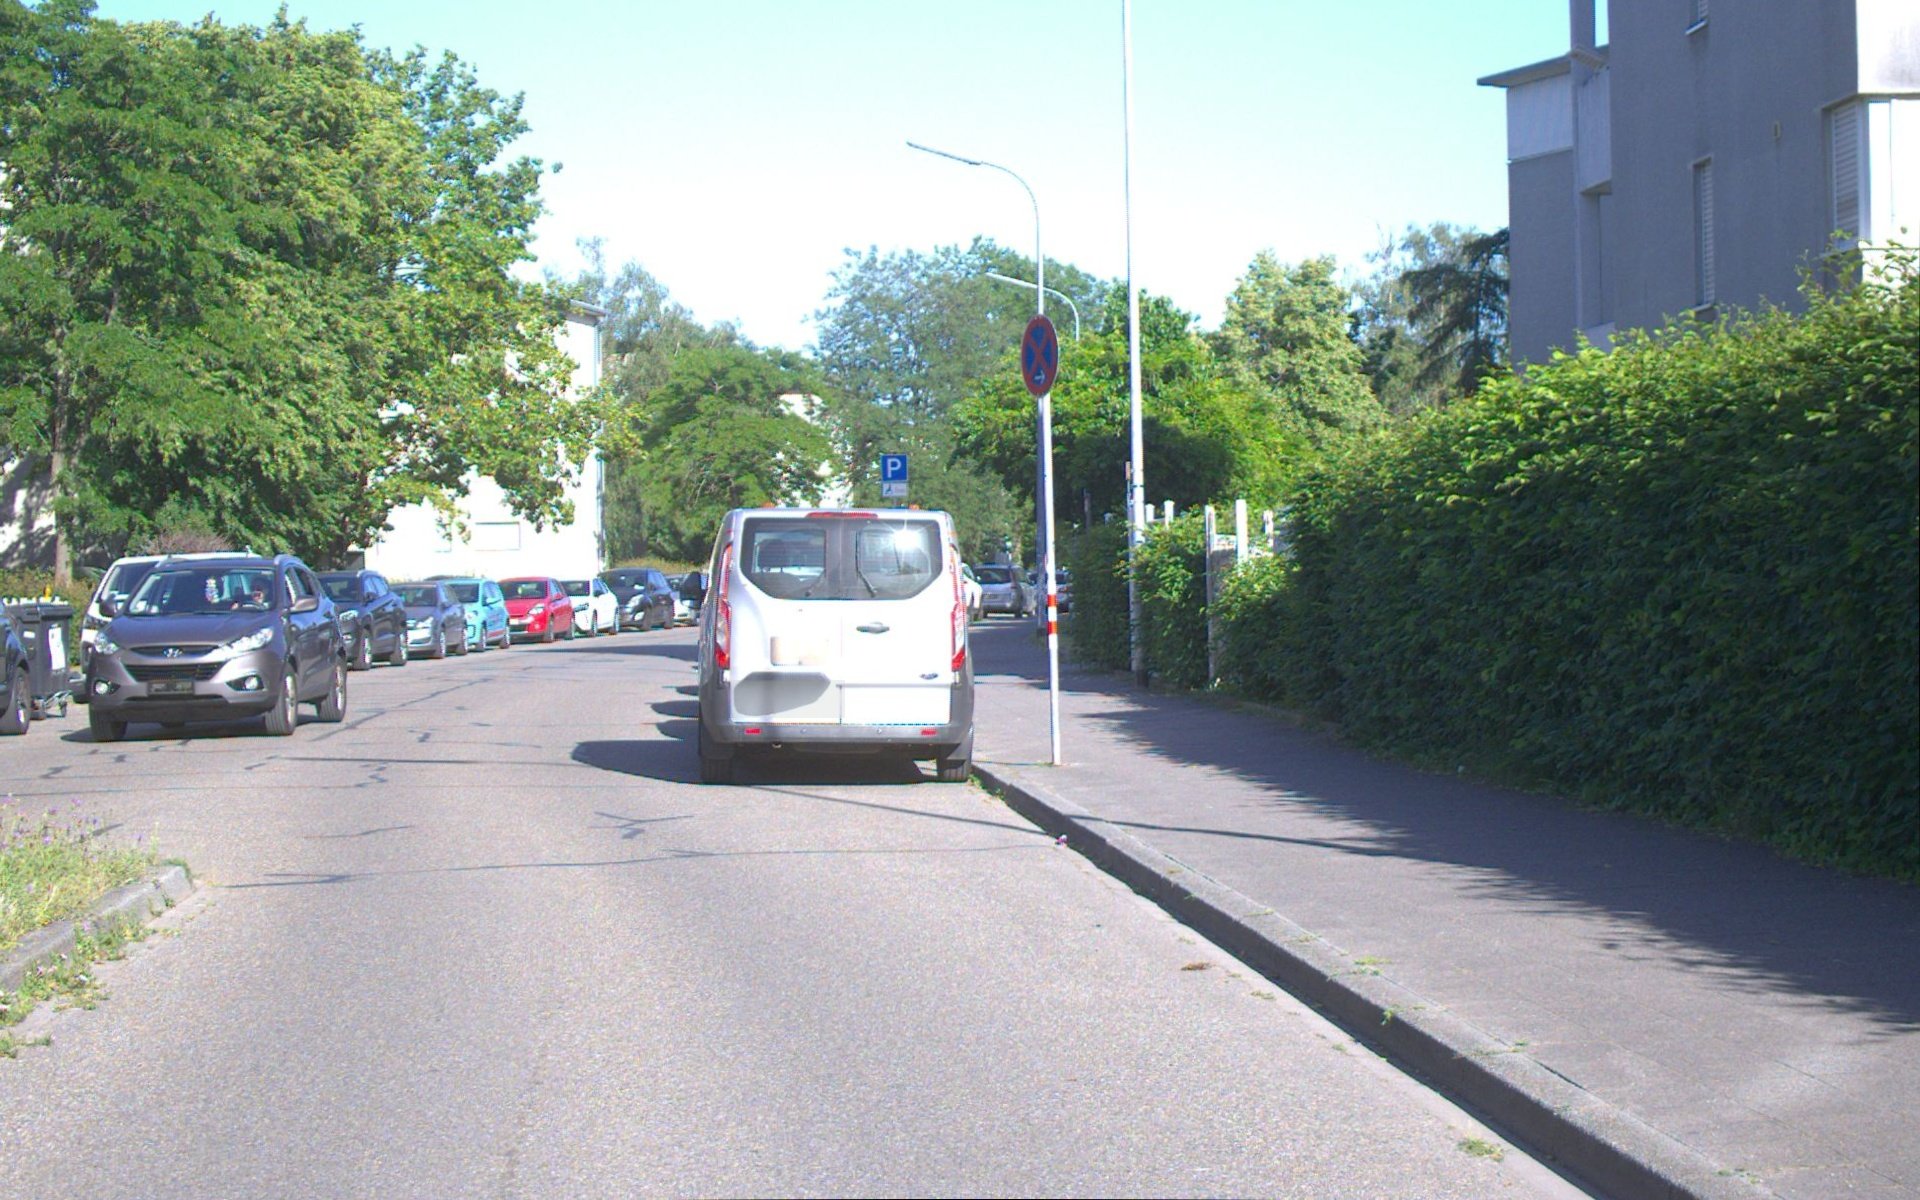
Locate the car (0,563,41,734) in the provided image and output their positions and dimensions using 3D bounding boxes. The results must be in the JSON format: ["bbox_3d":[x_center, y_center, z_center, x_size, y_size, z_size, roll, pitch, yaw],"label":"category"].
[{"bbox_3d":[-10.079,0.506,32.703,1.674,1.633,4.251,-2,1,-3],"label":"car"}]

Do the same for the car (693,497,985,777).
[{"bbox_3d":[-1.025,0.235,26.253,1.993,1.906,4.954,-1,0,-4],"label":"car"}]

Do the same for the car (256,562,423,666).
[{"bbox_3d":[-10.284,0.194,57.270,1.748,1.612,4.362,-1,1,3],"label":"car"}]

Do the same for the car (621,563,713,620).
[{"bbox_3d":[-8.079,-0.244,95.084,1.660,1.481,4.051,-2,0,8],"label":"car"}]

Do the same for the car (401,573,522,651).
[{"bbox_3d":[-10.062,0.222,69.600,1.670,1.469,3.678,-2,0,4],"label":"car"}]

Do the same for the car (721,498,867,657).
[{"bbox_3d":[-2.688,-0.382,57.028,2.104,2.478,5.856,1,0,0],"label":"car"}]

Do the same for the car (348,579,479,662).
[{"bbox_3d":[-10.165,0.366,64.164,1.670,1.432,4.000,-2,0,2],"label":"car"}]

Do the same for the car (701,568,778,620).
[{"bbox_3d":[-6.414,-0.183,100.343,1.660,1.422,4.049,-2,0,4],"label":"car"}]

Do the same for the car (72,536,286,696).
[{"bbox_3d":[-10.226,0.166,45.319,1.863,1.954,4.671,-1,1,-2],"label":"car"}]

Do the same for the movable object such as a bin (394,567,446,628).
[{"bbox_3d":[-12.917,-0.062,82.291,0.988,1.414,1.314,-1,1,2],"label":"movable object such as a bin"}]

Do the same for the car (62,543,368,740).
[{"bbox_3d":[-7.036,0.348,32.904,1.913,1.699,4.185,-2,1,1],"label":"car"}]

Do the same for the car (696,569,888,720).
[{"bbox_3d":[-1.796,0.433,36.755,1.909,1.483,4.375,-1,0,-3],"label":"car"}]

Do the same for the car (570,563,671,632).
[{"bbox_3d":[-8.718,-0.084,88.611,1.671,1.661,4.405,-2,0,6],"label":"car"}]

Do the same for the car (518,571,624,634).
[{"bbox_3d":[-9.236,0.036,81.944,1.671,1.416,3.900,-2,0,6],"label":"car"}]

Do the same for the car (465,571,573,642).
[{"bbox_3d":[-9.770,0.132,76.328,1.670,1.469,3.678,-2,0,4],"label":"car"}]
